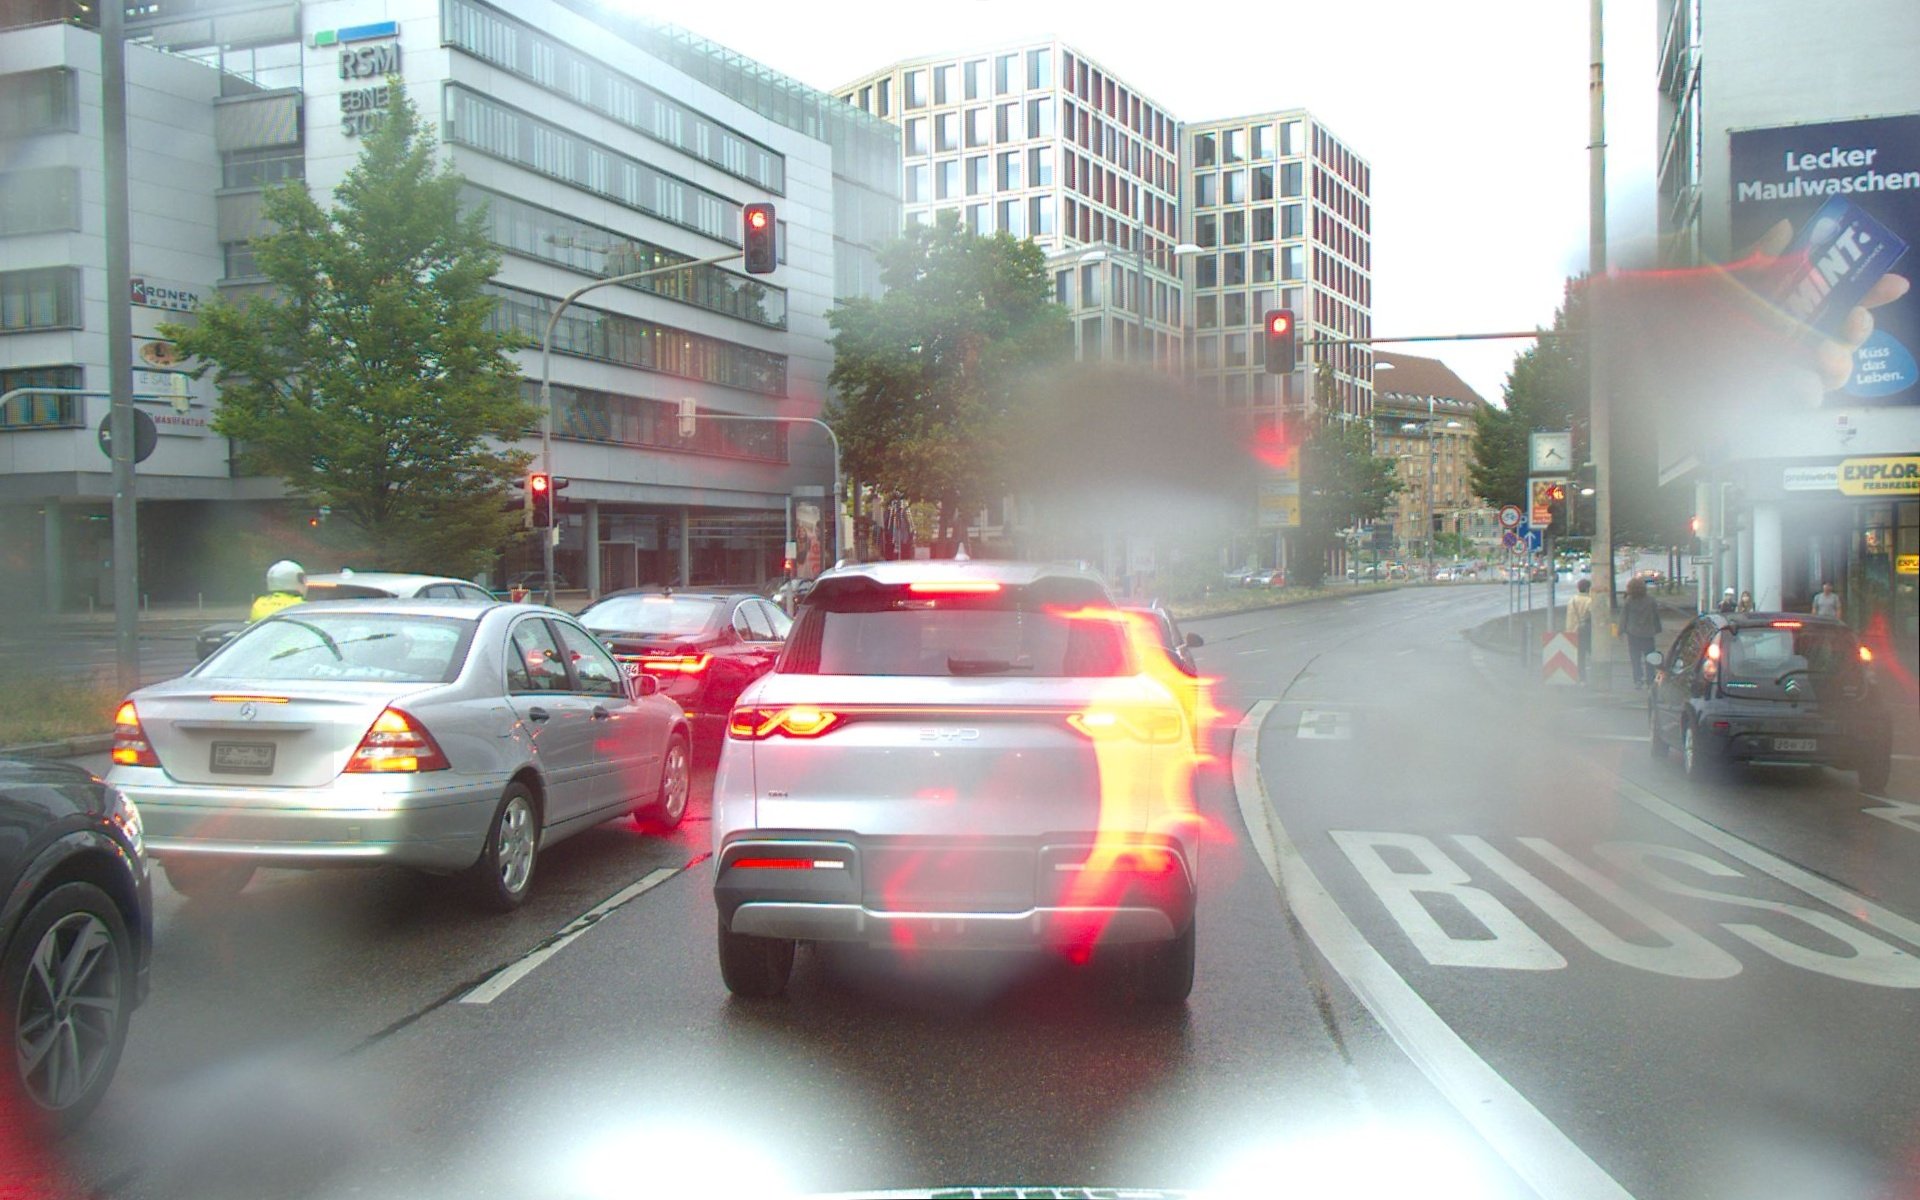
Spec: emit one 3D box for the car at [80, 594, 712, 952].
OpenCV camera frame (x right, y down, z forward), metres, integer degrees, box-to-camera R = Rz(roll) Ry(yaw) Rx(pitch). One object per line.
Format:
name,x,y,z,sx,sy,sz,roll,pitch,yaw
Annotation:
car,-2.645,0.716,8.852,1.537,1.432,4.112,1,0,7

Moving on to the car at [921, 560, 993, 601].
car,-0.101,-0.803,68.079,1.610,1.608,4.086,1,0,21

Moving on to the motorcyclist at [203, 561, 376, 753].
motorcyclist,-5.142,0.419,12.754,0.753,1.404,1.119,1,0,7

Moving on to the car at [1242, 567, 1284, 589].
car,21.848,-1.576,119.060,1.955,1.514,3.996,0,1,27

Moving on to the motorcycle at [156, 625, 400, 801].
motorcycle,-5.168,0.810,12.702,0.783,1.205,2.030,1,0,8

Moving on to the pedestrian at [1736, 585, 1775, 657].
pedestrian,17.604,0.462,36.603,0.615,1.570,0.649,1,0,43

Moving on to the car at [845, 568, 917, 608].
car,-3.276,-0.467,69.210,1.604,1.598,3.718,1,0,21

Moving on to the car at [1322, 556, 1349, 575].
car,37.233,-3.408,164.017,1.577,1.771,3.437,1,0,31

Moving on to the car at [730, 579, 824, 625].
car,-6.802,0.057,61.773,1.952,1.639,4.001,1,1,20

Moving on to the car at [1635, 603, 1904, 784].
car,7.491,0.779,15.653,1.537,1.454,4.003,1,0,15

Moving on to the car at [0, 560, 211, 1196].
car,-3.128,0.675,2.982,1.614,1.548,4.271,1,1,0

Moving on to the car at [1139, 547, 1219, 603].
car,8.634,-0.950,64.979,1.953,2.049,4.848,1,0,22

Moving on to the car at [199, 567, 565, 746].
car,-5.451,0.490,16.185,1.670,1.512,4.003,1,0,9

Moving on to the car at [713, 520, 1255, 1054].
car,0.122,0.613,7.380,1.739,1.708,4.000,1,0,1

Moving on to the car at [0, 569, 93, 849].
car,-6.303,0.609,7.777,1.826,1.560,4.778,1,1,1

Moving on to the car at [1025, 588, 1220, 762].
car,1.747,0.674,16.655,1.657,1.512,4.003,1,0,10

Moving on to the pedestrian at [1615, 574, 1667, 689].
pedestrian,11.043,0.502,26.837,0.733,1.829,0.817,0,1,20

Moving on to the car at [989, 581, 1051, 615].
car,3.026,-0.118,82.508,1.598,1.586,4.592,0,1,23

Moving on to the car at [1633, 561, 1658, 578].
car,62.717,-2.789,151.355,1.662,1.512,3.993,1,0,29

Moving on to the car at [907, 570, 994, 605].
car,-0.382,-0.596,75.365,1.778,1.536,5.191,0,1,27

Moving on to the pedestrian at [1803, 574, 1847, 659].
pedestrian,18.748,0.351,35.851,0.659,1.825,0.768,1,0,43

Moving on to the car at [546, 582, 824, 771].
car,-2.424,0.634,15.539,1.537,1.512,4.003,1,0,6

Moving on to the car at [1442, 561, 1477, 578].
car,59.568,-3.644,197.174,3.904,2.049,2.001,1,0,20

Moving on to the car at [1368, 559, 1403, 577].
car,50.770,-3.787,197.405,3.904,2.049,2.001,1,0,20

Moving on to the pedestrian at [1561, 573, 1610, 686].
pedestrian,10.342,0.479,27.355,0.733,1.829,0.817,0,1,20

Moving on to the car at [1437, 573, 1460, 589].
car,45.509,-1.754,154.063,1.598,1.462,3.907,0,1,23

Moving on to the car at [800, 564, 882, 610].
car,-4.237,-0.468,59.318,1.609,1.563,4.155,1,0,16

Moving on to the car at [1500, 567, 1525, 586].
car,49.580,-2.086,148.347,1.849,1.671,4.000,1,1,22

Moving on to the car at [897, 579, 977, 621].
car,-0.775,0.025,58.813,1.655,1.409,3.870,1,0,18

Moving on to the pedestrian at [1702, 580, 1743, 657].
pedestrian,17.091,0.405,37.059,0.659,1.684,0.649,1,0,43

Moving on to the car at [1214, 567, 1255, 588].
car,20.465,-1.675,123.354,1.955,1.514,3.996,0,1,27
